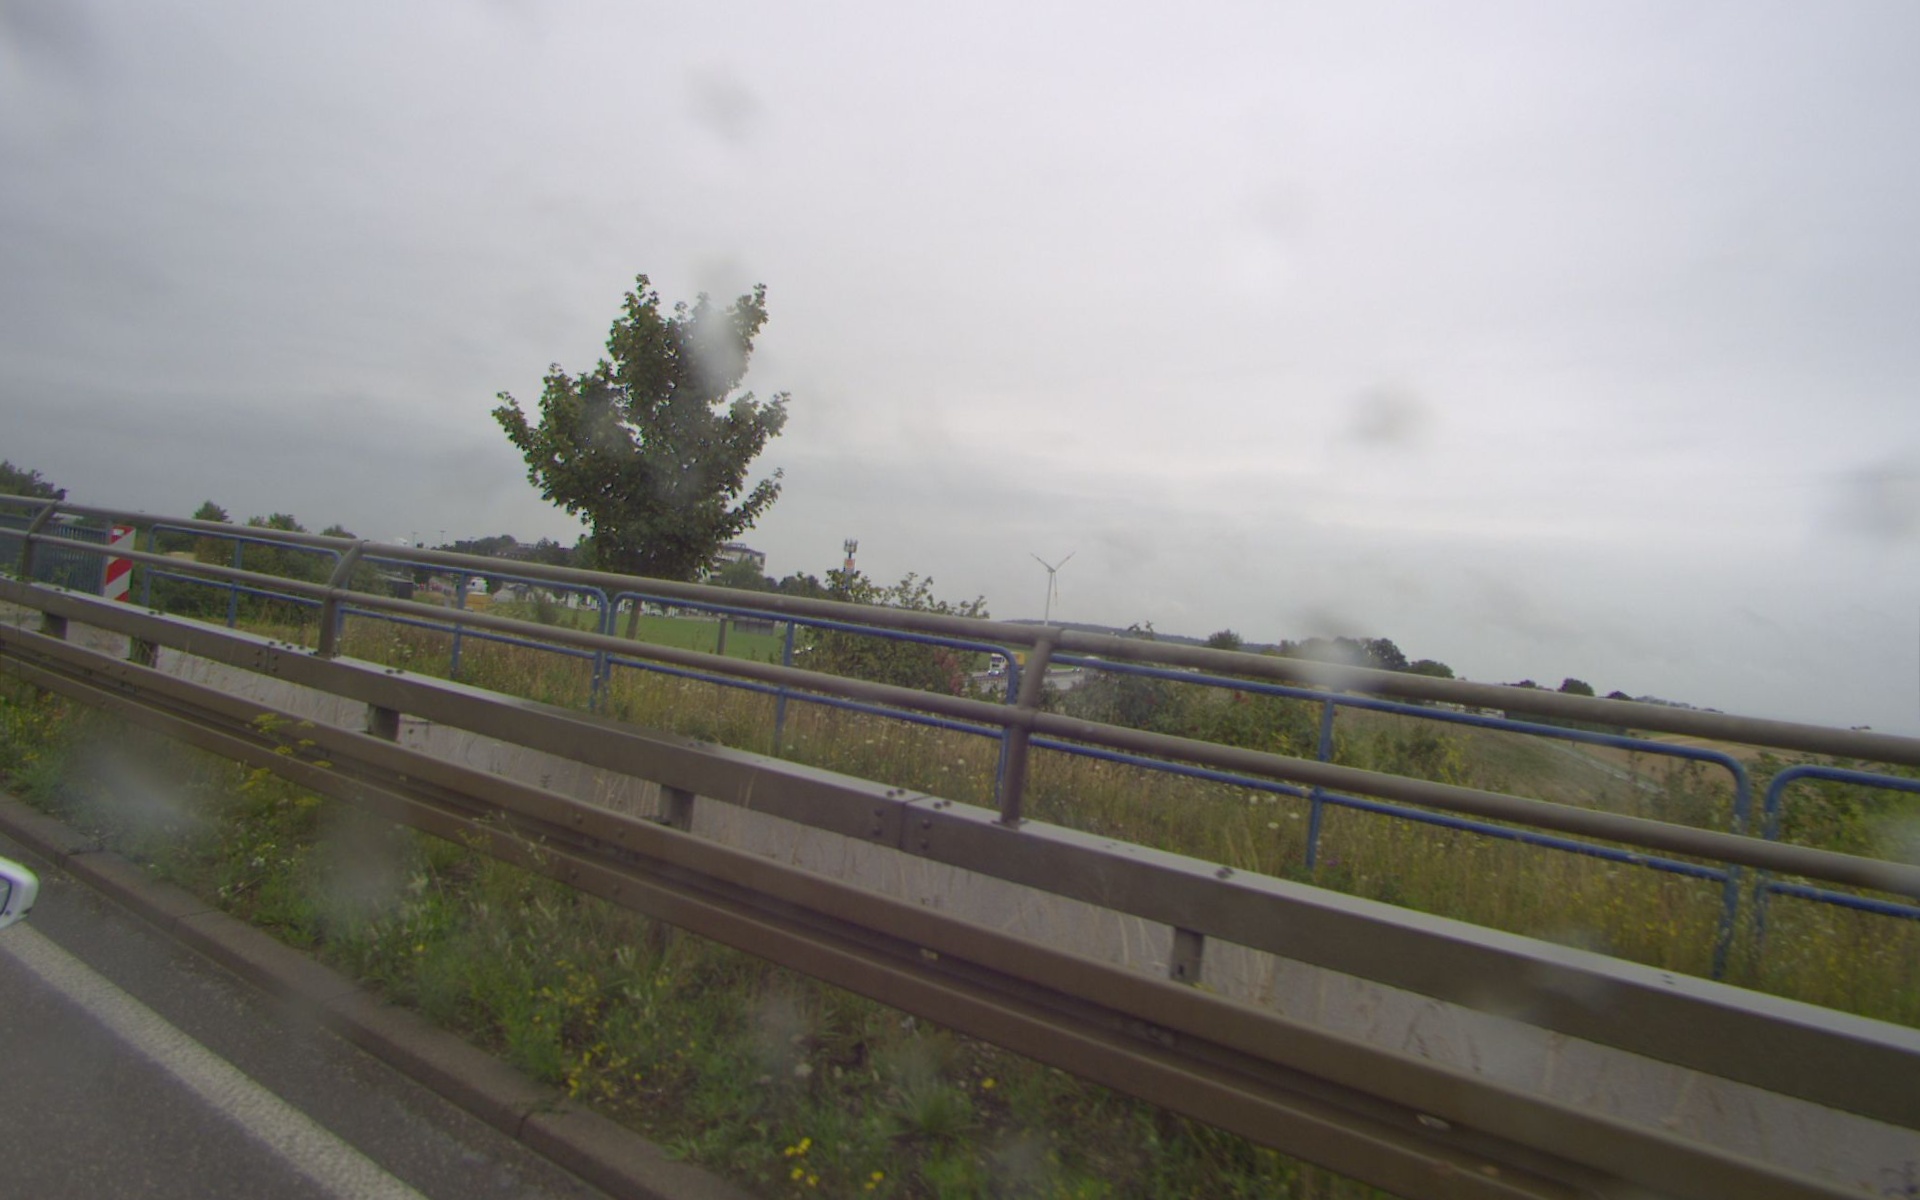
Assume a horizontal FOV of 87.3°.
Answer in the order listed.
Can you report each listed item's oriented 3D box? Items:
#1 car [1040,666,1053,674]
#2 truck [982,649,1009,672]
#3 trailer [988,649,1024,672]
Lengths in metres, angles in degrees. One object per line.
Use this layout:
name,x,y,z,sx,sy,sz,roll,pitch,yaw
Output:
car,18.291,14.757,212.116,1.646,1.366,4.005,7,-3,19
truck,6.711,11.527,191.064,2.828,4.015,6.824,7,-1,19
trailer,9.128,12.021,198.127,2.828,4.014,14.030,7,-1,19
